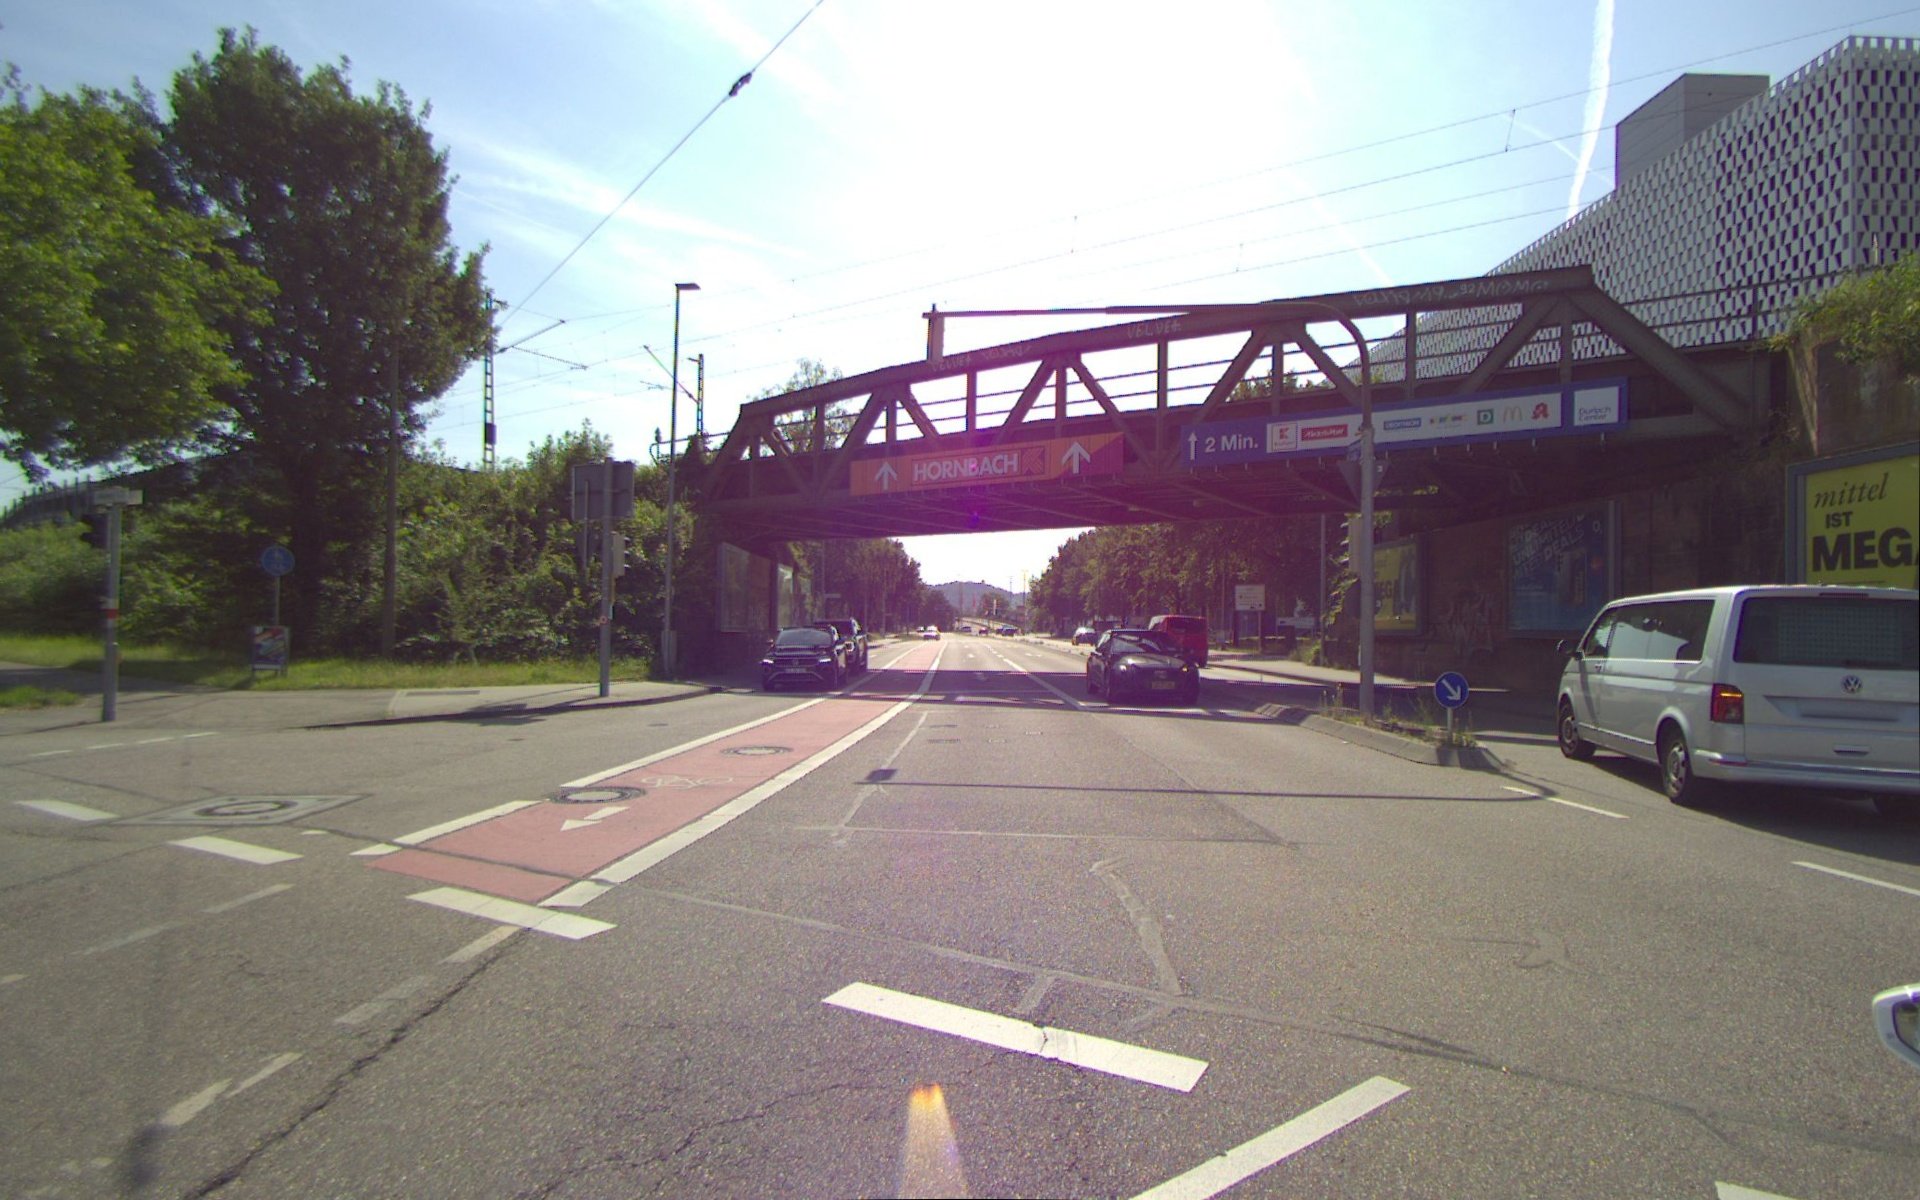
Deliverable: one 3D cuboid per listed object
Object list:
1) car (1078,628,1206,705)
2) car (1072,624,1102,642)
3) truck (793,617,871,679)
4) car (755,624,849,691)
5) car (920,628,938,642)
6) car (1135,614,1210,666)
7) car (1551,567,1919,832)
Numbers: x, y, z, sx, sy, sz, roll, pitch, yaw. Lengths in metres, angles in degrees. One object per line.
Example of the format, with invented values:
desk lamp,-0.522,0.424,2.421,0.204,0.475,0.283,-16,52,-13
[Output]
car,3.630,1.294,20.803,1.737,1.413,4.335,1,-2,-2
car,10.372,2.699,82.451,1.757,1.415,4.324,1,-1,-2
truck,-4.157,1.518,33.442,1.993,1.844,5.325,-1,-1,-1
car,-3.873,1.390,25.233,1.787,1.500,3.943,-1,-1,-1
car,-3.706,4.143,119.152,1.937,1.512,4.081,1,-1,-3
car,8.523,1.593,40.686,1.936,1.950,4.560,1,-1,-2
car,7.685,0.852,10.121,1.909,1.997,5.024,1,-2,18
